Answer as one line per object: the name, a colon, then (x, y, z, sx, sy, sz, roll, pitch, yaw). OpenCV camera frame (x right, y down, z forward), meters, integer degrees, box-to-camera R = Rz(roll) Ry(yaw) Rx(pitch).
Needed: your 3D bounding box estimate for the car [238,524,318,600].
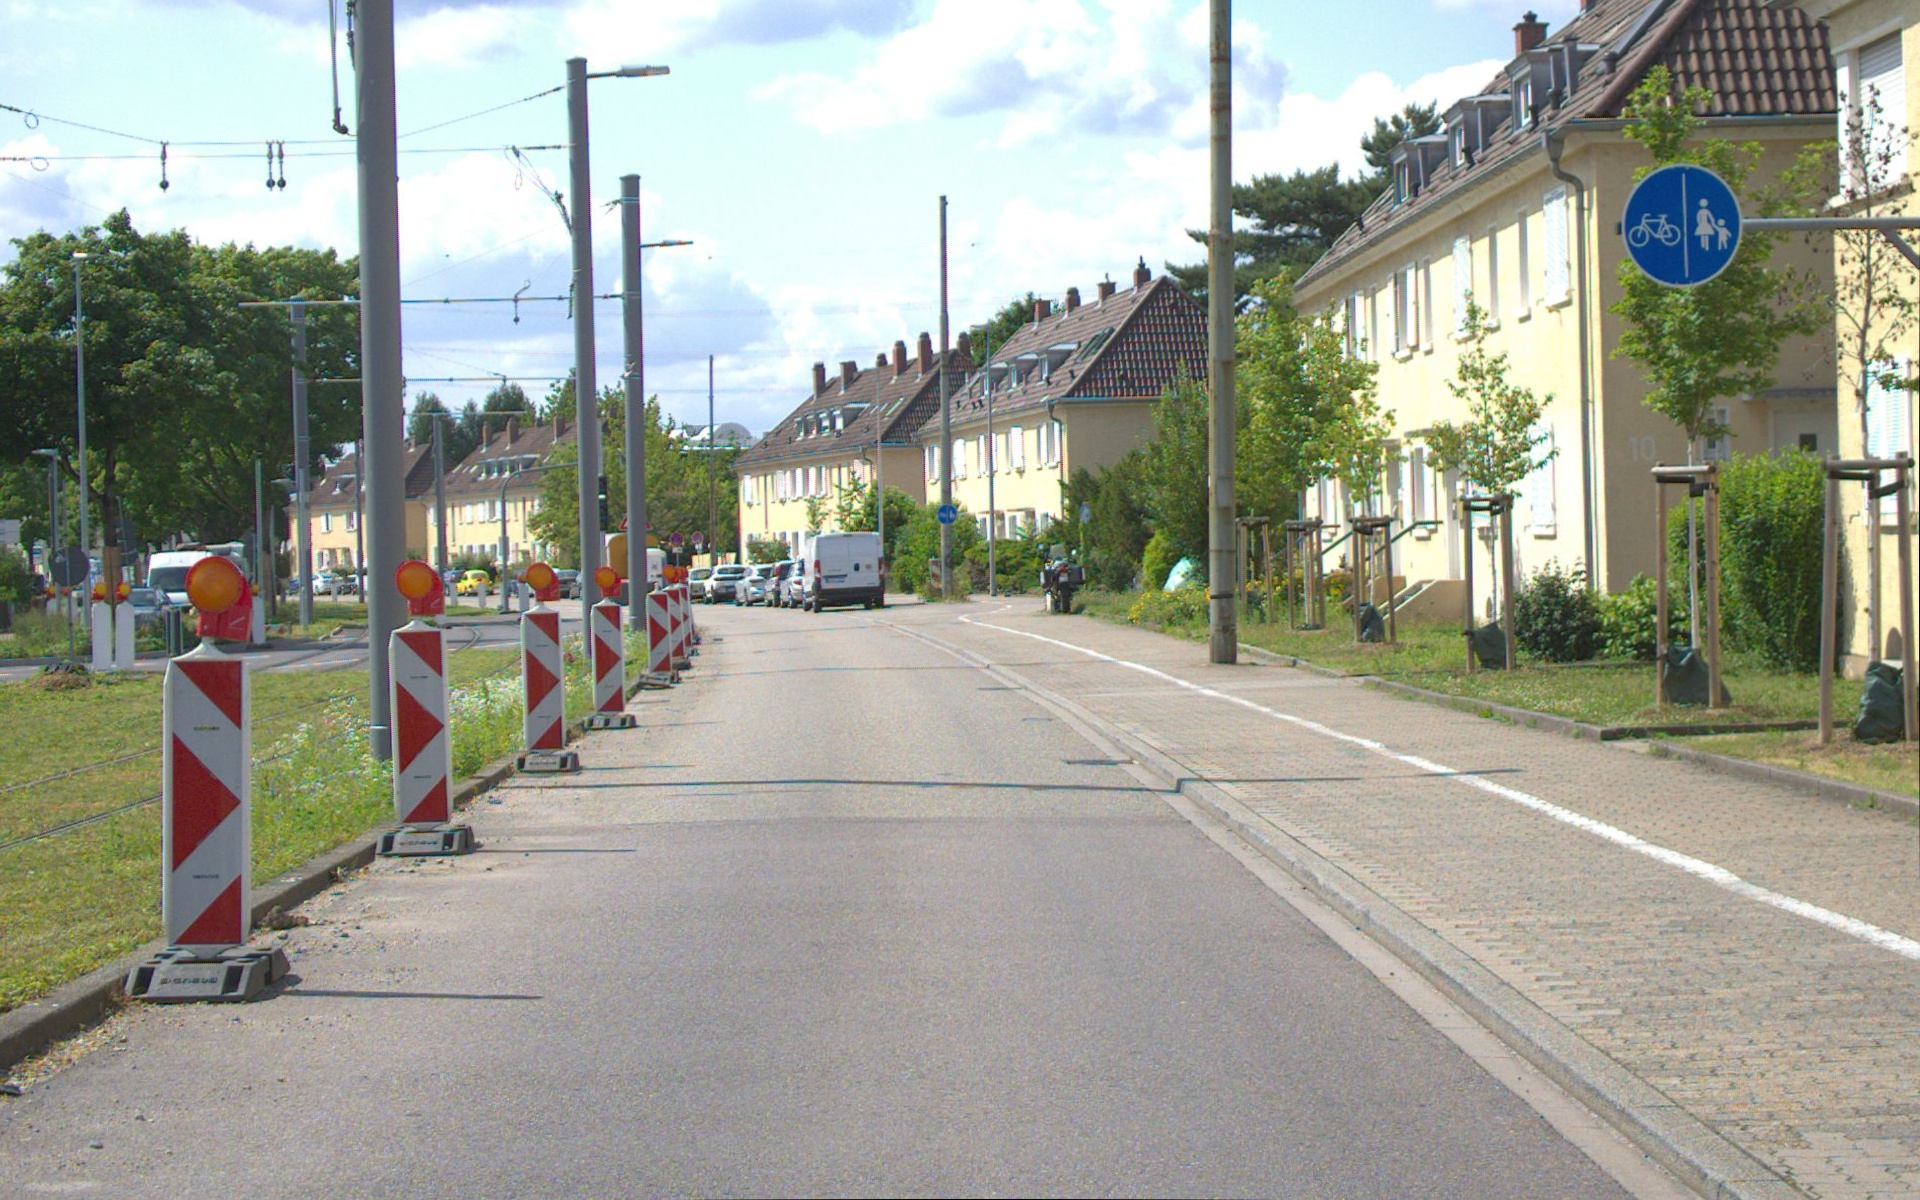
car: (-22.316, -1.238, 112.335, 2.406, 2.362, 4.881, -2, 1, -12)

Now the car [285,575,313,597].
car: (-45.295, -0.951, 235.543, 1.257, 1.421, 2.666, -2, 1, -26)

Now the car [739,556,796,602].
car: (-6.765, -0.750, 120.494, 1.567, 1.546, 3.790, -2, 1, -9)

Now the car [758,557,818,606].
car: (-5.762, -0.623, 114.953, 1.567, 1.546, 3.790, -1, 1, -9)

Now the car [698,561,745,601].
car: (-9.614, -0.779, 138.623, 1.567, 1.546, 3.479, -1, 1, -9)

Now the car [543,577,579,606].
car: (-20.225, -0.441, 174.100, 1.257, 1.421, 2.666, -2, 1, -19)

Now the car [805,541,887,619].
car: (-3.355, -0.586, 100.183, 2.065, 2.142, 4.879, -2, 1, -5)

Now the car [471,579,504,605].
car: (-26.689, -0.458, 194.290, 1.257, 1.421, 2.666, -2, 1, -20)

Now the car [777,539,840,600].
car: (-4.848, -0.964, 109.713, 1.567, 1.891, 3.790, -2, 1, -9)

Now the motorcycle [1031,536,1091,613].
motorcycle: (2.169, -0.551, 74.250, 1.066, 1.630, 2.084, -2, 0, -3)

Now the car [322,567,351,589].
car: (-41.446, -1.473, 228.517, 1.257, 1.421, 2.666, -2, 1, -24)

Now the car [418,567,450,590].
car: (-31.551, -1.303, 206.121, 1.257, 1.346, 2.666, -2, 1, -22)

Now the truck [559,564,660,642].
truck: (-16.575, 0.122, 161.890, 2.640, 3.482, 9.440, -2, 1, -19)

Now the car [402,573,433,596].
car: (-33.145, -0.951, 209.943, 1.257, 1.346, 2.666, -2, 1, -22)

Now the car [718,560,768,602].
car: (-8.366, -0.743, 132.408, 1.567, 1.546, 3.479, -1, 1, -9)

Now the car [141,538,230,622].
car: (-22.555, -0.574, 100.146, 2.406, 2.330, 4.881, -2, 1, -12)
